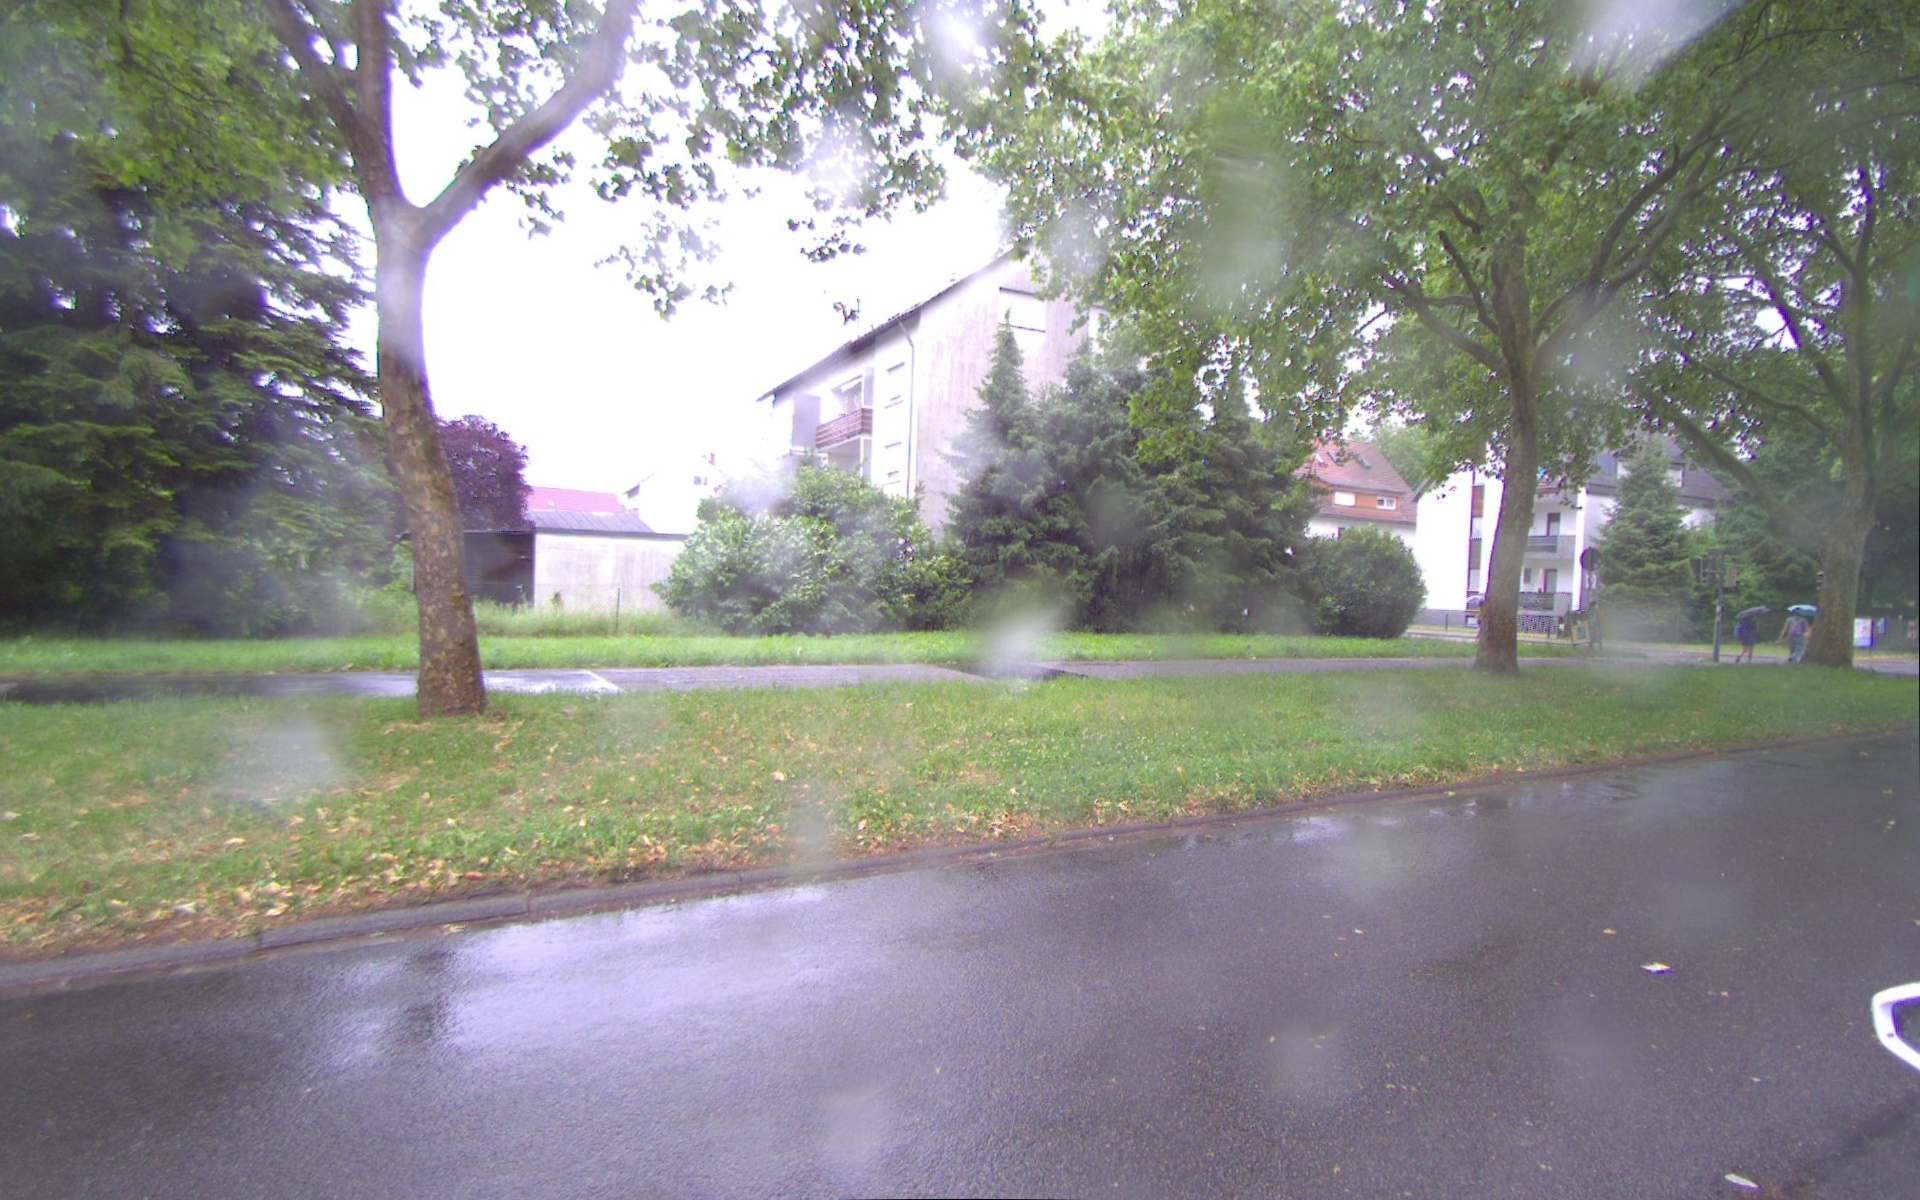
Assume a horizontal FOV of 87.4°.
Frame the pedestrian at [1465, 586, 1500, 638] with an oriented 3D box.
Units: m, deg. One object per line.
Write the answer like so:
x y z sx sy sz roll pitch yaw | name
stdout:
18.084 0.423 34.785 0.633 1.768 0.815 1 1 -33 | pedestrian

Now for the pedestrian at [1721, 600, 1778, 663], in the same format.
23.149 0.905 29.463 0.869 1.789 1.028 1 1 -30 | pedestrian

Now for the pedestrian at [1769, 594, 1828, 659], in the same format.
23.698 0.741 28.409 0.828 1.789 1.028 1 1 -30 | pedestrian

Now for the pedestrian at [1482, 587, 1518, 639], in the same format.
18.939 0.446 35.236 0.633 1.768 0.854 1 1 -33 | pedestrian
